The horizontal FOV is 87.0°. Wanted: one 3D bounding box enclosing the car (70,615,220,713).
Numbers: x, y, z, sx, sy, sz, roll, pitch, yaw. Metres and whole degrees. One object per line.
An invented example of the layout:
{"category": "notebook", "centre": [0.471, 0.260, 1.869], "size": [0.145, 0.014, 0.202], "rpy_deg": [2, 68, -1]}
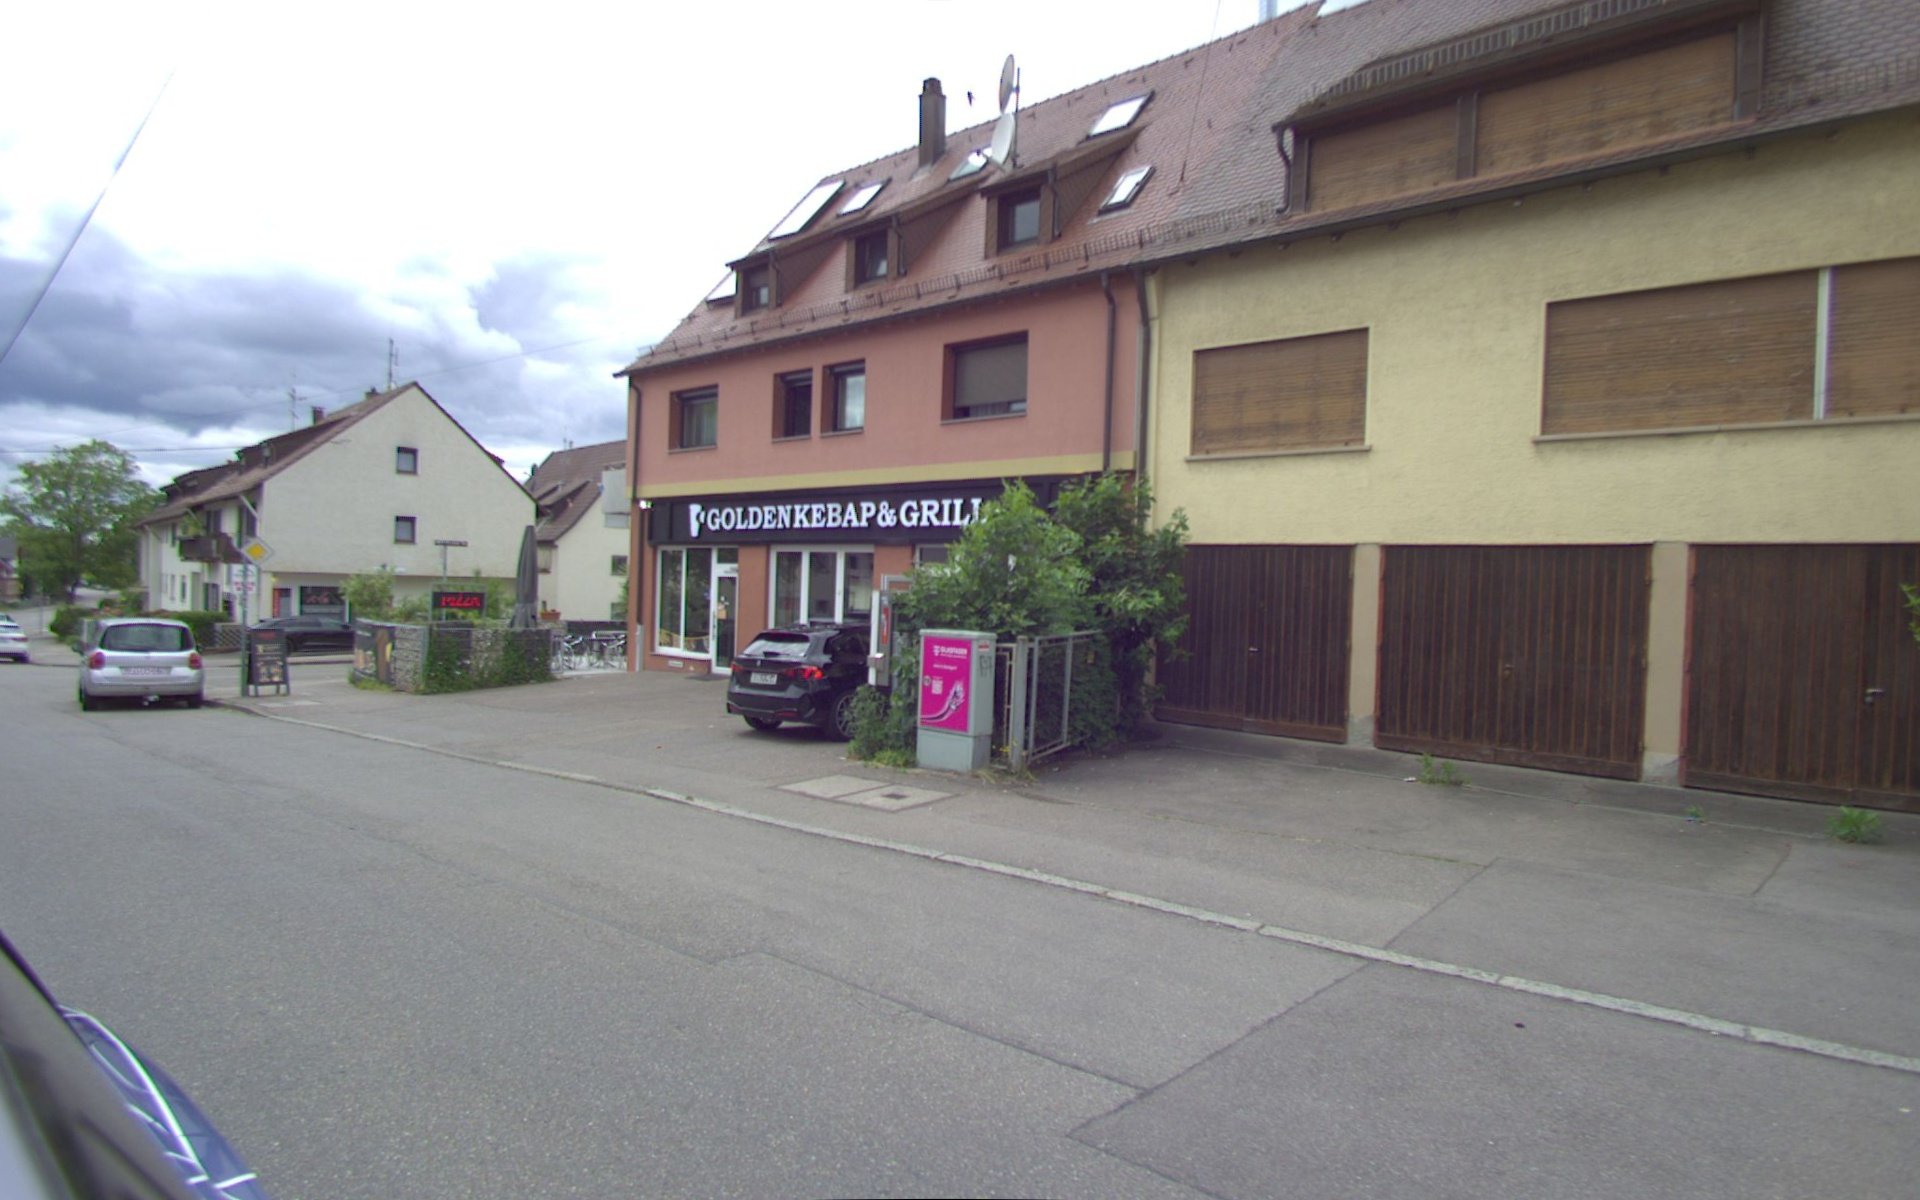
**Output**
{"category": "car", "centre": [-14.992, 1.131, 18.539], "size": [1.811, 1.590, 4.036], "rpy_deg": [5, -4, -42]}

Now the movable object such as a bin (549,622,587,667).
{"category": "movable object such as a bin", "centre": [-10.218, 1.147, 26.350], "size": [0.977, 1.117, 0.564], "rpy_deg": [-1, 0, 45]}

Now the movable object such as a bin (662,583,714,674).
{"category": "movable object such as a bin", "centre": [-7.686, 0.777, 28.528], "size": [1.262, 2.476, 1.643], "rpy_deg": [0, -1, -21]}

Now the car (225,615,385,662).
{"category": "car", "centre": [-23.248, 1.312, 36.037], "size": [4.466, 1.483, 2.001], "rpy_deg": [-1, 0, -45]}

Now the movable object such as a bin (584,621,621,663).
{"category": "movable object such as a bin", "centre": [-9.665, 1.123, 27.353], "size": [0.977, 1.118, 0.564], "rpy_deg": [-1, -1, 45]}

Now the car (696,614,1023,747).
{"category": "car", "centre": [-1.214, 0.984, 13.763], "size": [1.999, 1.483, 4.185], "rpy_deg": [1, -1, 41]}

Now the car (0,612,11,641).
{"category": "car", "centre": [-61.796, 1.639, 64.261], "size": [1.826, 1.727, 4.583], "rpy_deg": [3, -2, -39]}

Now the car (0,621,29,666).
{"category": "car", "centre": [-33.818, 1.451, 35.214], "size": [3.899, 1.469, 1.707], "rpy_deg": [0, -4, 43]}
